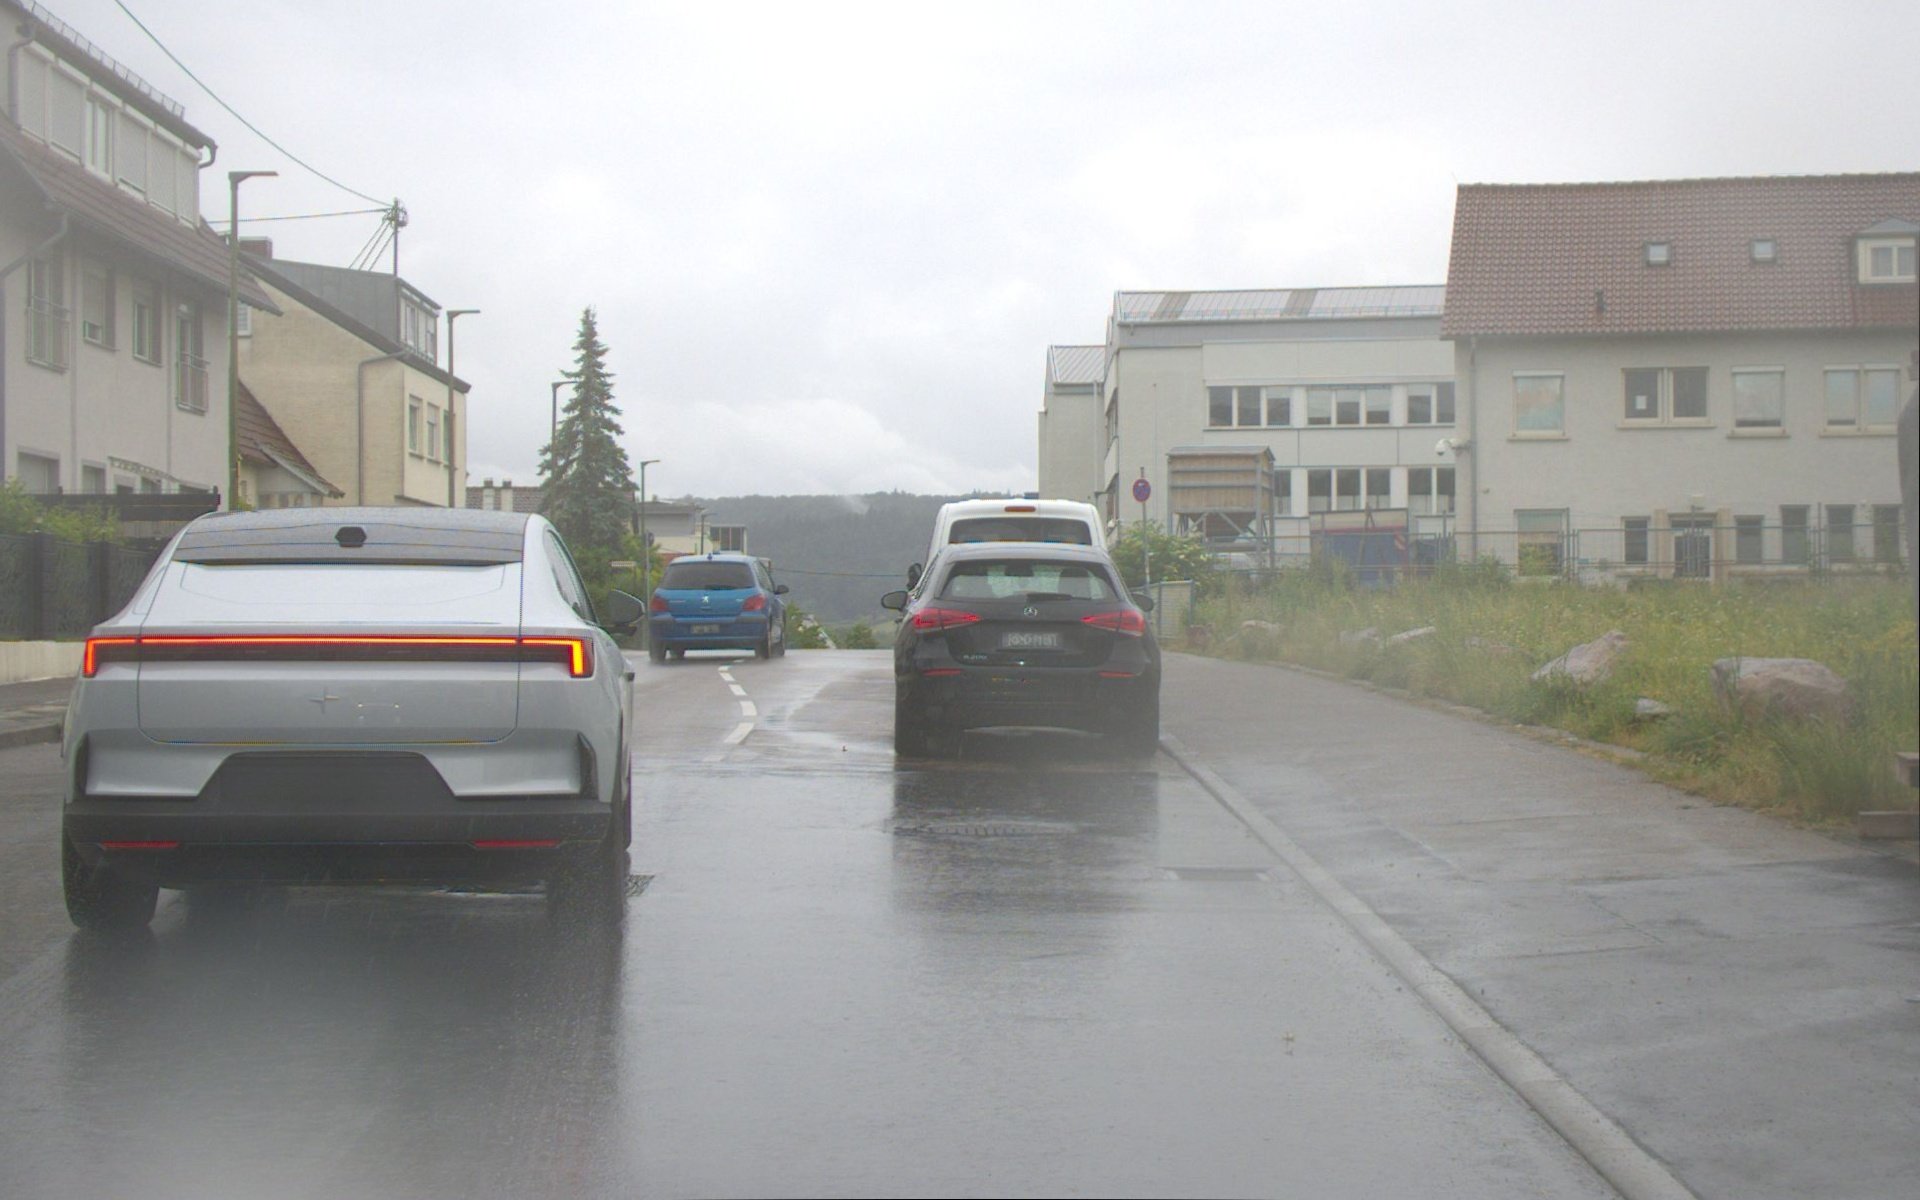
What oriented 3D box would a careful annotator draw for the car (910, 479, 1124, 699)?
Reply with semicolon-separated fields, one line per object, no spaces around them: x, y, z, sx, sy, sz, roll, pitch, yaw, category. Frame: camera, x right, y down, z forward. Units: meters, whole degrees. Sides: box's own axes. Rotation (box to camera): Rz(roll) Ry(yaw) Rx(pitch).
0.453;-0.116;31.181;1.768;1.819;4.575;1;0;-1;car

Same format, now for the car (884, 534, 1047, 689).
0.048;0.096;37.611;1.642;1.569;4.644;1;0;0;car

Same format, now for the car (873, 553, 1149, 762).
0.302;0.353;24.494;1.768;1.331;4.321;1;0;-1;car

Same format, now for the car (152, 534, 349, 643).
-10.901;-0.177;53.150;1.993;1.505;4.895;3;0;0;car

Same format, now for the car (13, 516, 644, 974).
-2.285;0.454;13.635;1.993;1.497;4.670;0;1;-5;car
